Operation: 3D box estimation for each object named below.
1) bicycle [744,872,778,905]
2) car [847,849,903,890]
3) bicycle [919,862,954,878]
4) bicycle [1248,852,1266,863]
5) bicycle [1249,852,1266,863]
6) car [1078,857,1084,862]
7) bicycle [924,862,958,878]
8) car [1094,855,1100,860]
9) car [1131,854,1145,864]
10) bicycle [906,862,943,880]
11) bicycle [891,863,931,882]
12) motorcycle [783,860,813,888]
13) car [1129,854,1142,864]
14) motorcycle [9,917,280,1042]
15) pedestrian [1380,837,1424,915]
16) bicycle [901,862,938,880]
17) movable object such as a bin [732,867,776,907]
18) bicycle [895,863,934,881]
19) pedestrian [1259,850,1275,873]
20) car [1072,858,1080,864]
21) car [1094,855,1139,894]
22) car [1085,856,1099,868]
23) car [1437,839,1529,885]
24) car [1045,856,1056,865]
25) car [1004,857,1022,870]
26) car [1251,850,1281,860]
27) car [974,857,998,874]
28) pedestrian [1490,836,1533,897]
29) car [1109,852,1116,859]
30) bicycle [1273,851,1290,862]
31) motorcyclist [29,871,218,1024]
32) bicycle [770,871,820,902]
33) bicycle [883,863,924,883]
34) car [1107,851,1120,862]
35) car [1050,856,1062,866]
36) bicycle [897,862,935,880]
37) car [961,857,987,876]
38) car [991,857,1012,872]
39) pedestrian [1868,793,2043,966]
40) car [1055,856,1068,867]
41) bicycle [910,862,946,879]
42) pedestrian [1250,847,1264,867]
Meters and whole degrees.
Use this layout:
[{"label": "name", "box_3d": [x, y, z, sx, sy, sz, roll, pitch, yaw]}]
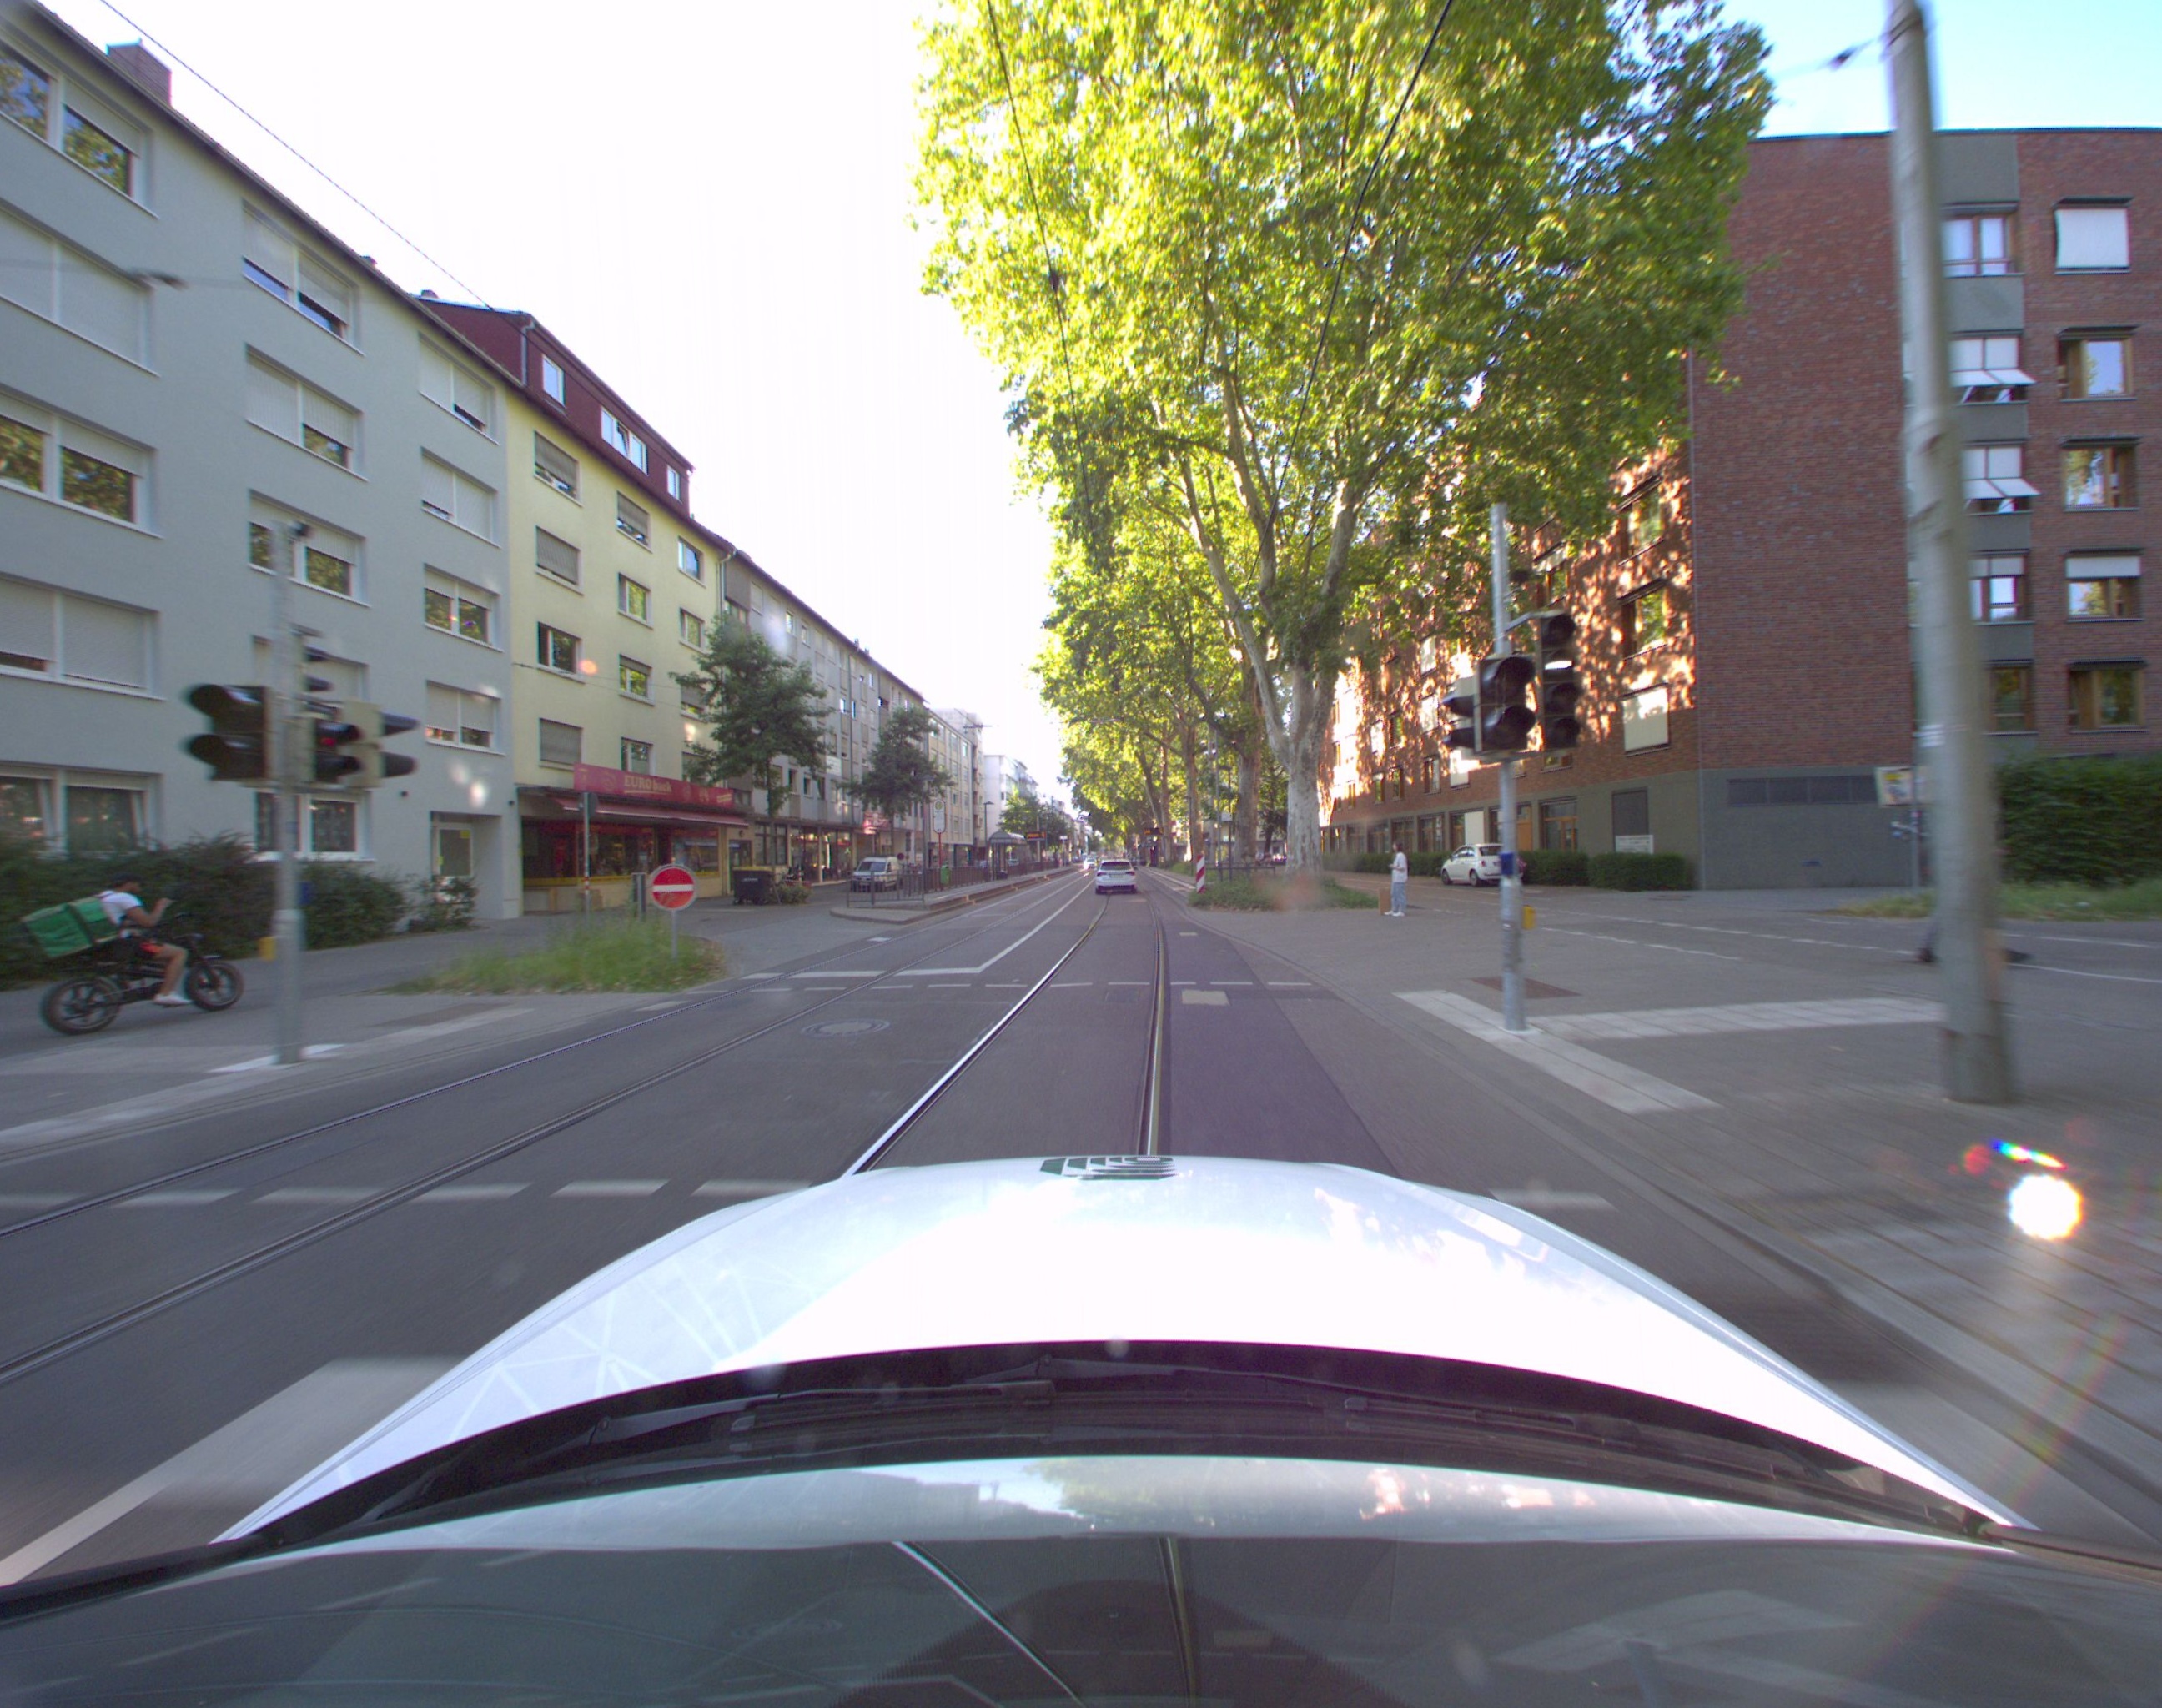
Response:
[{"label": "bicycle", "box_3d": [-11.813, 1.261, 30.092, 0.497, 1.107, 1.800, 2, 0, 0]}, {"label": "car", "box_3d": [-10.536, 0.770, 41.934, 1.681, 1.940, 4.002, -2, 0, 2]}, {"label": "bicycle", "box_3d": [-10.082, 1.127, 56.807, 2.243, 1.074, 0.637, 2, 0, 3]}, {"label": "bicycle", "box_3d": [17.130, 0.362, 79.251, 1.552, 1.037, 0.482, -2, 0, 23]}, {"label": "bicycle", "box_3d": [17.336, 0.360, 80.160, 1.552, 1.037, 0.507, -2, 0, 23]}, {"label": "car", "box_3d": [-0.055, 1.650, 252.216, 1.781, 1.513, 4.002, -2, 0, 2]}, {"label": "bicycle", "box_3d": [-10.042, 1.130, 58.426, 2.243, 1.074, 0.637, 2, 0, 3]}, {"label": "car", "box_3d": [5.078, 1.206, 252.989, 1.781, 1.513, 4.002, -2, 0, 2]}, {"label": "car", "box_3d": [8.515, 0.779, 122.555, 1.986, 1.453, 4.002, -2, 0, 2]}, {"label": "bicycle", "box_3d": [-10.232, 1.106, 53.230, 2.243, 1.074, 0.637, 2, 0, 3]}, {"label": "bicycle", "box_3d": [-10.327, 1.118, 49.532, 2.243, 1.074, 0.637, 2, 0, 3]}, {"label": "motorcycle", "box_3d": [-14.204, 0.982, 40.952, 0.596, 1.311, 2.223, -2, 0, 2]}, {"label": "car", "box_3d": [8.550, 0.728, 127.646, 1.986, 1.453, 4.002, -2, 0, 2]}, {"label": "motorcycle", "box_3d": [-9.814, 1.264, 8.666, 0.592, 1.032, 1.880, -1, 0, 6]}, {"label": "pedestrian", "box_3d": [7.025, 0.473, 17.853, 0.650, 1.669, 0.738, -2, 0, 2]}, {"label": "bicycle", "box_3d": [-10.296, 1.104, 51.967, 2.243, 1.074, 0.637, 2, 0, 3]}, {"label": "movable object such as a bin", "box_3d": [-11.507, 1.154, 28.680, 1.167, 1.348, 0.782, 2, 0, -2]}, {"label": "bicycle", "box_3d": [-10.372, 1.110, 50.739, 2.243, 1.074, 0.637, 2, 0, 3]}, {"label": "pedestrian", "box_3d": [13.556, 0.542, 59.401, 0.968, 1.623, 0.888, -2, 0, 2]}, {"label": "car", "box_3d": [-1.255, 1.934, 216.863, 1.781, 1.513, 4.002, -2, 0, 2]}, {"label": "car", "box_3d": [1.520, 0.828, 34.714, 1.781, 1.513, 4.002, -2, 0, 2]}, {"label": "car", "box_3d": [1.425, 1.004, 105.319, 1.687, 1.419, 4.002, -2, 0, 2]}, {"label": "car", "box_3d": [14.287, 0.271, 29.139, 1.595, 1.495, 3.418, -2, 0, 1]}, {"label": "car", "box_3d": [-5.275, 1.163, 140.638, 1.671, 1.548, 4.002, 1, 0, 2]}, {"label": "car", "box_3d": [-8.268, 1.112, 98.889, 1.671, 1.548, 4.002, 1, 0, 2]}, {"label": "car", "box_3d": [26.889, 0.185, 118.706, 3.970, 1.372, 1.869, -2, 0, 3]}, {"label": "car", "box_3d": [-8.812, 1.053, 75.518, 1.587, 1.548, 4.002, 1, 0, 2]}, {"label": "pedestrian", "box_3d": [12.112, 0.336, 22.924, 0.733, 1.669, 0.835, -2, 0, 2]}, {"label": "car", "box_3d": [9.010, 0.435, 234.430, 1.859, 1.892, 4.002, -2, 0, 2]}, {"label": "bicycle", "box_3d": [19.533, 0.257, 79.255, 1.552, 1.037, 0.482, -2, 0, 23]}, {"label": "motorcyclist", "box_3d": [-9.851, 0.915, 8.432, 0.592, 1.449, 1.106, -1, 0, 6]}, {"label": "bicycle", "box_3d": [-10.763, 1.211, 30.730, 1.528, 1.075, 0.886, 1, 0, 1]}, {"label": "bicycle", "box_3d": [-10.444, 1.103, 47.887, 2.243, 1.074, 0.637, 2, 0, 3]}, {"label": "car", "box_3d": [4.467, 0.346, 112.263, 1.781, 1.513, 4.002, -2, 0, 2]}, {"label": "car", "box_3d": [-3.962, 1.096, 128.636, 1.671, 1.548, 4.002, 1, 0, 2]}, {"label": "bicycle", "box_3d": [-10.398, 1.087, 51.358, 2.243, 1.074, 0.637, 2, 0, 3]}, {"label": "car", "box_3d": [-9.249, 1.036, 70.572, 1.587, 1.548, 4.002, 1, 0, 2]}, {"label": "car", "box_3d": [-8.465, 1.080, 86.726, 1.671, 1.548, 4.002, 1, 0, 2]}, {"label": "pedestrian", "box_3d": [9.755, 0.272, 9.121, 0.992, 1.811, 0.863, -2, 0, -3]}, {"label": "car", "box_3d": [-2.868, 1.098, 121.043, 1.671, 1.548, 4.002, 1, 0, 2]}, {"label": "bicycle", "box_3d": [-10.307, 1.113, 54.981, 2.243, 1.074, 0.637, 2, 0, 3]}, {"label": "pedestrian", "box_3d": [15.035, 0.248, 69.613, 0.968, 1.623, 0.888, -2, 0, 2]}]
